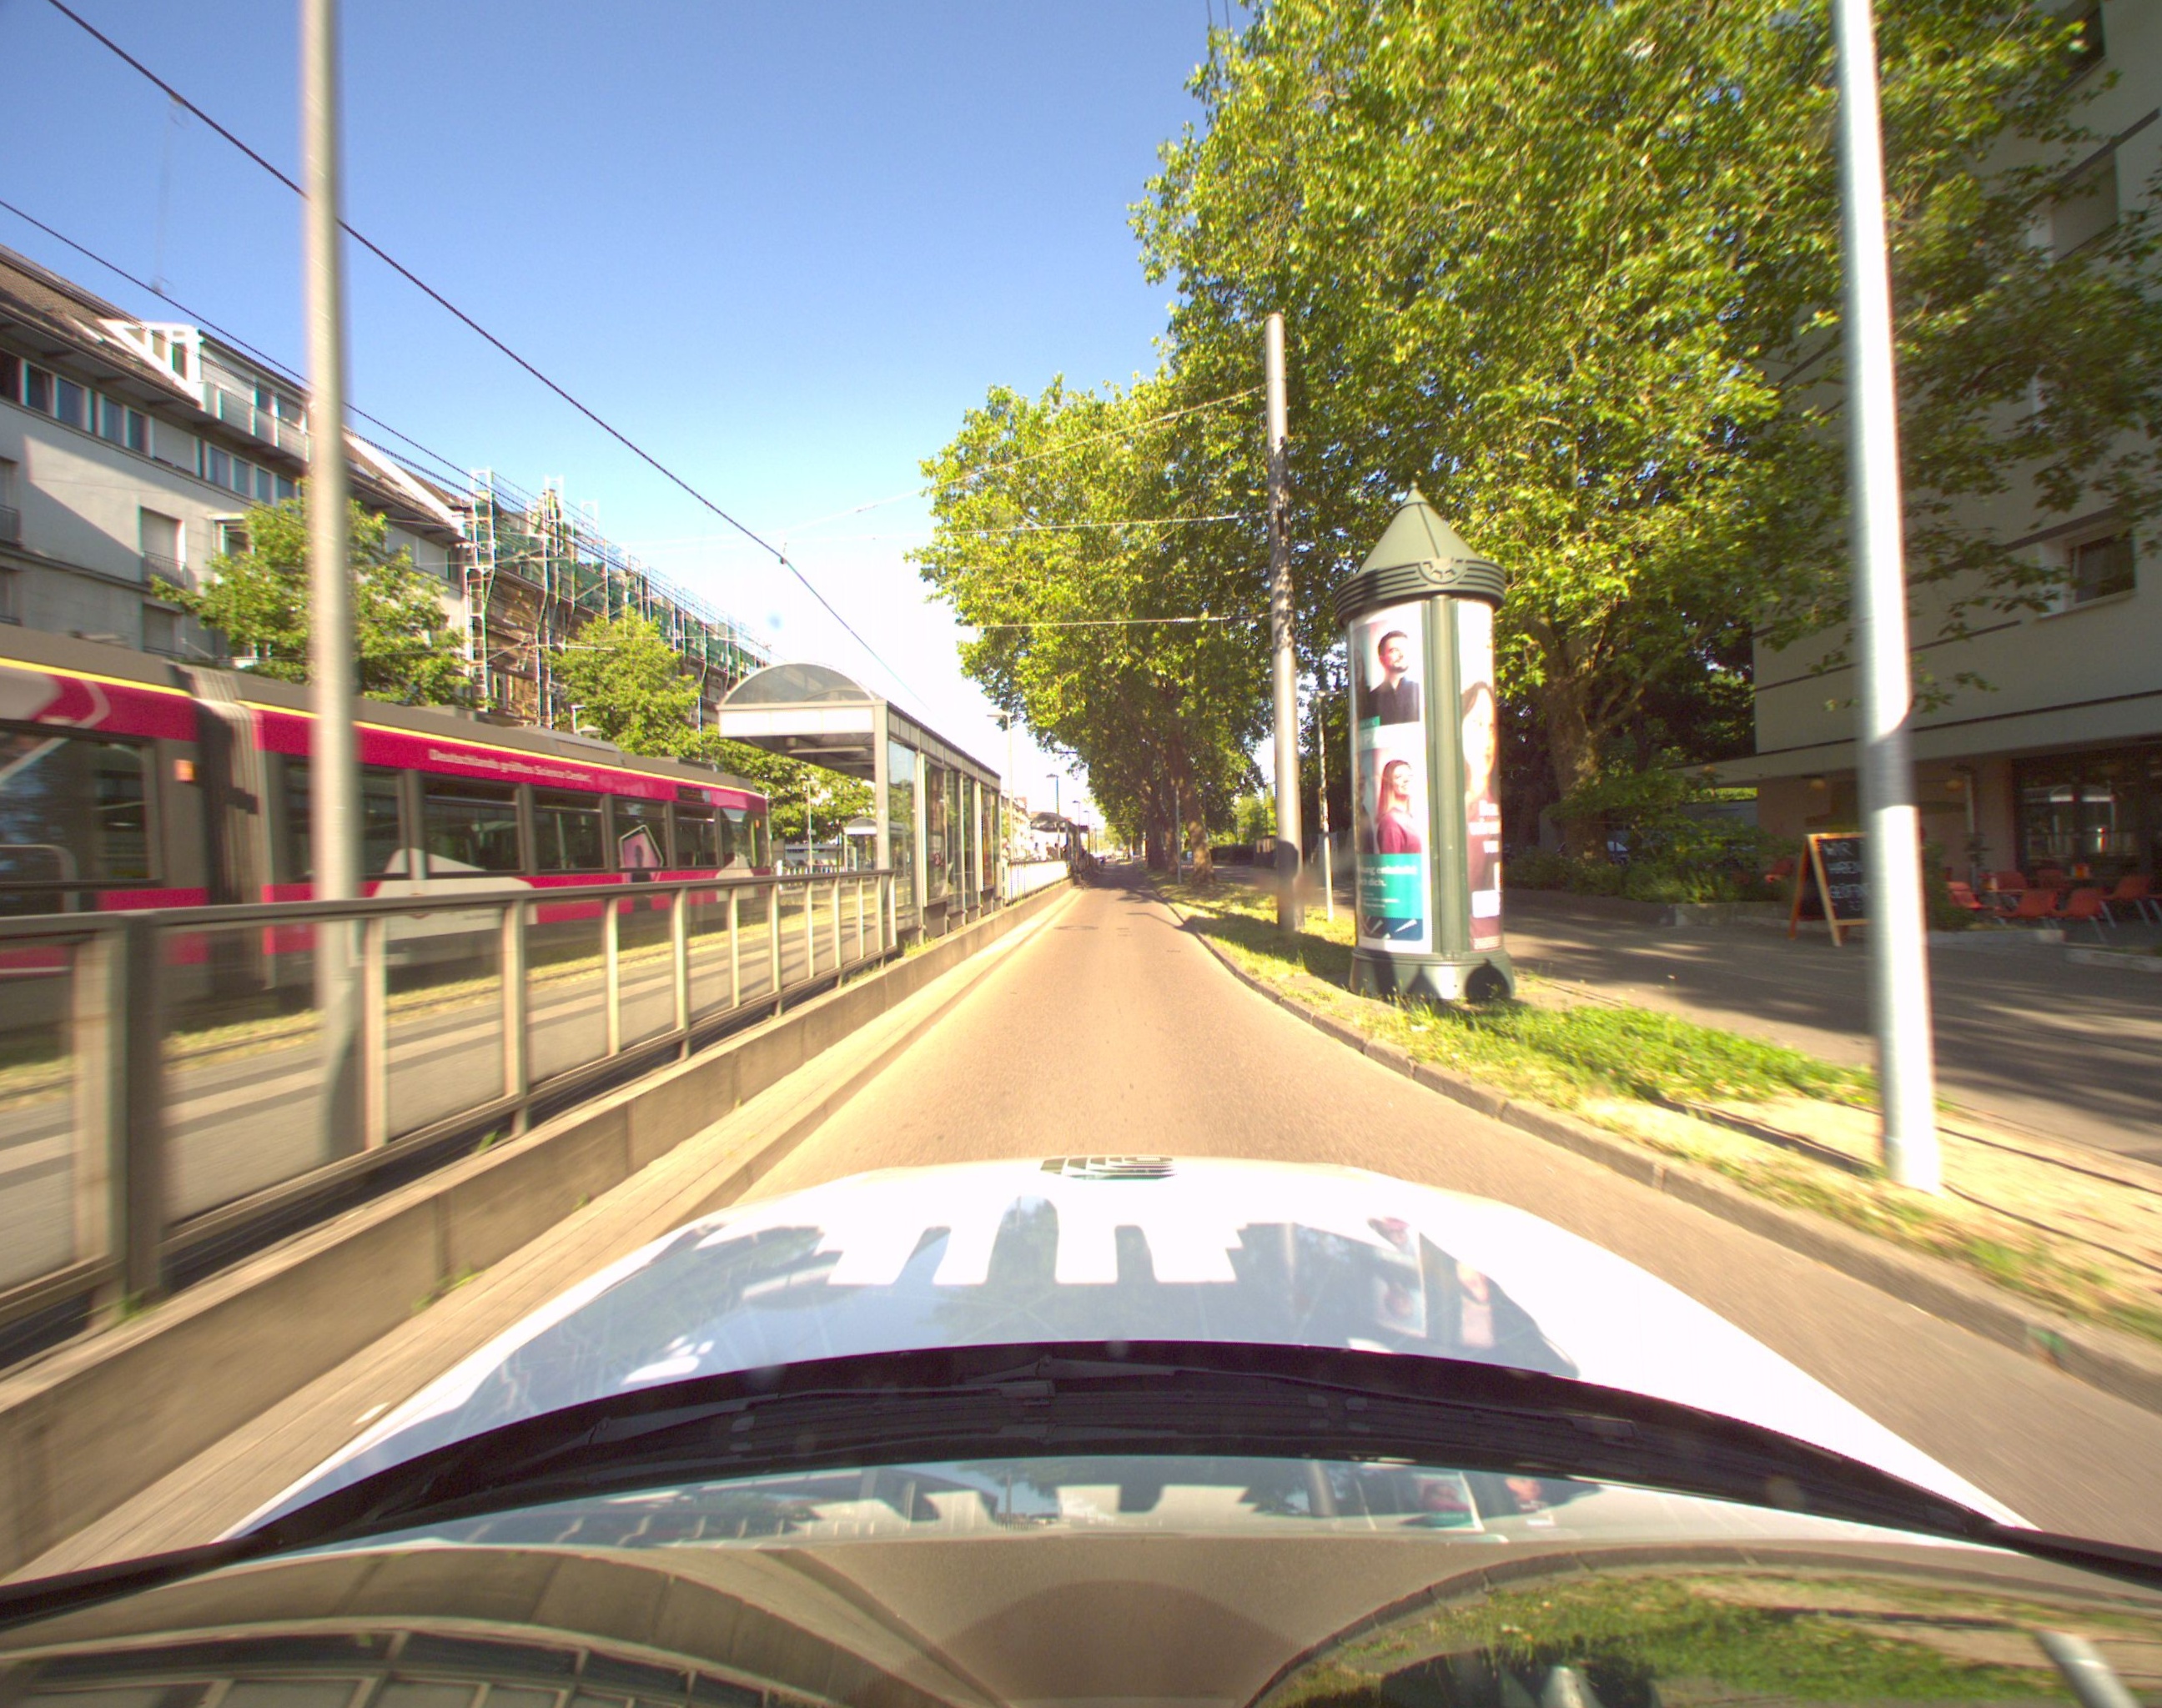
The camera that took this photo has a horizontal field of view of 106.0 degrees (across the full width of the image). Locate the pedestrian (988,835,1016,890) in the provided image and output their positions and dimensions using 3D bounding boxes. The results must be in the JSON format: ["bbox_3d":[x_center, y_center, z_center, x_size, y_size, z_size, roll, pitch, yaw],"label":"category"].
[{"bbox_3d":[-2.572,0.264,26.584,0.782,1.771,0.773,0,0,2],"label":"pedestrian"}]

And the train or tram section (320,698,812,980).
[{"bbox_3d":[-8.508,-0.177,15.732,2.858,3.685,9.691,-2,0,3],"label":"train or tram section"}]

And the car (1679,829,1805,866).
[{"bbox_3d":[27.293,-0.256,33.836,1.988,1.453,3.998,0,0,-1],"label":"car"}]

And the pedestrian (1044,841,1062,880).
[{"bbox_3d":[-1.144,0.272,33.119,0.676,1.562,0.852,0,0,2],"label":"pedestrian"}]

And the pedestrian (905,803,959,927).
[{"bbox_3d":[-2.333,0.168,12.852,0.667,1.902,0.824,0,0,2],"label":"pedestrian"}]

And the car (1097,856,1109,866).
[{"bbox_3d":[3.920,1.188,142.529,1.985,1.684,4.003,0,0,3],"label":"car"}]

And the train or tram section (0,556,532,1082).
[{"bbox_3d":[-9.110,-0.220,3.561,2.858,3.685,14.571,-2,0,3],"label":"train or tram section"}]

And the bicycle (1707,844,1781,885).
[{"bbox_3d":[19.702,0.297,24.255,0.786,1.177,1.821,0,0,2],"label":"bicycle"}]

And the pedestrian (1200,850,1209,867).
[{"bbox_3d":[12.152,0.425,80.164,0.647,1.656,0.784,-3,-1,2],"label":"pedestrian"}]

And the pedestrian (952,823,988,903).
[{"bbox_3d":[-2.540,0.202,18.635,0.595,1.800,0.826,0,0,8],"label":"pedestrian"}]

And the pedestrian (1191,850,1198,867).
[{"bbox_3d":[11.188,0.452,80.282,0.625,1.656,0.740,-3,-1,2],"label":"pedestrian"}]

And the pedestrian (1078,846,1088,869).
[{"bbox_3d":[0.142,0.260,60.951,0.754,1.690,0.679,0,0,2],"label":"pedestrian"}]

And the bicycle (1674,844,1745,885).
[{"bbox_3d":[18.706,0.292,24.303,0.786,1.177,1.821,0,0,2],"label":"bicycle"}]

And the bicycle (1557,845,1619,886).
[{"bbox_3d":[15.144,0.345,24.372,0.786,1.177,1.821,0,0,2],"label":"bicycle"}]

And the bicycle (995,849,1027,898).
[{"bbox_3d":[-1.683,0.459,19.851,0.511,1.133,2.105,0,0,3],"label":"bicycle"}]

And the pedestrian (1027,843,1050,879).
[{"bbox_3d":[-2.043,0.324,39.169,0.913,1.722,0.625,1,-1,-31],"label":"pedestrian"}]

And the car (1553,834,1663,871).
[{"bbox_3d":[21.678,-0.055,33.704,1.988,1.453,3.998,0,0,-1],"label":"car"}]

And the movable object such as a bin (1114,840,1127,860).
[{"bbox_3d":[10.567,-0.944,221.020,3.075,5.088,8.896,-4,0,2],"label":"movable object such as a bin"}]

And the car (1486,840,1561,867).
[{"bbox_3d":[24.761,-0.027,45.736,1.988,1.453,3.998,0,0,-1],"label":"car"}]

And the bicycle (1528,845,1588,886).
[{"bbox_3d":[14.265,0.341,24.417,0.786,1.177,1.821,0,0,2],"label":"bicycle"}]

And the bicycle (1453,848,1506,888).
[{"bbox_3d":[12.060,0.404,24.686,0.786,1.177,1.821,0,0,2],"label":"bicycle"}]

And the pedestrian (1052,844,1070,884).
[{"bbox_3d":[-0.893,0.456,36.445,0.762,1.758,0.695,0,0,2],"label":"pedestrian"}]

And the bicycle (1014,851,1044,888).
[{"bbox_3d":[-1.633,0.476,25.830,0.734,1.133,2.032,0,0,2],"label":"bicycle"}]

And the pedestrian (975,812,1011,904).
[{"bbox_3d":[-1.956,0.093,18.144,0.595,1.996,0.826,0,0,8],"label":"pedestrian"}]

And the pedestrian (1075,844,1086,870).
[{"bbox_3d":[0.000,0.215,53.823,0.676,1.690,0.895,0,0,3],"label":"pedestrian"}]

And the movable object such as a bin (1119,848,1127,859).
[{"bbox_3d":[12.506,-0.077,243.140,1.961,3.013,4.798,-4,0,2],"label":"movable object such as a bin"}]

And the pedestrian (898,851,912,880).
[{"bbox_3d":[-10.492,0.672,48.519,0.677,1.690,0.654,0,0,0],"label":"pedestrian"}]
